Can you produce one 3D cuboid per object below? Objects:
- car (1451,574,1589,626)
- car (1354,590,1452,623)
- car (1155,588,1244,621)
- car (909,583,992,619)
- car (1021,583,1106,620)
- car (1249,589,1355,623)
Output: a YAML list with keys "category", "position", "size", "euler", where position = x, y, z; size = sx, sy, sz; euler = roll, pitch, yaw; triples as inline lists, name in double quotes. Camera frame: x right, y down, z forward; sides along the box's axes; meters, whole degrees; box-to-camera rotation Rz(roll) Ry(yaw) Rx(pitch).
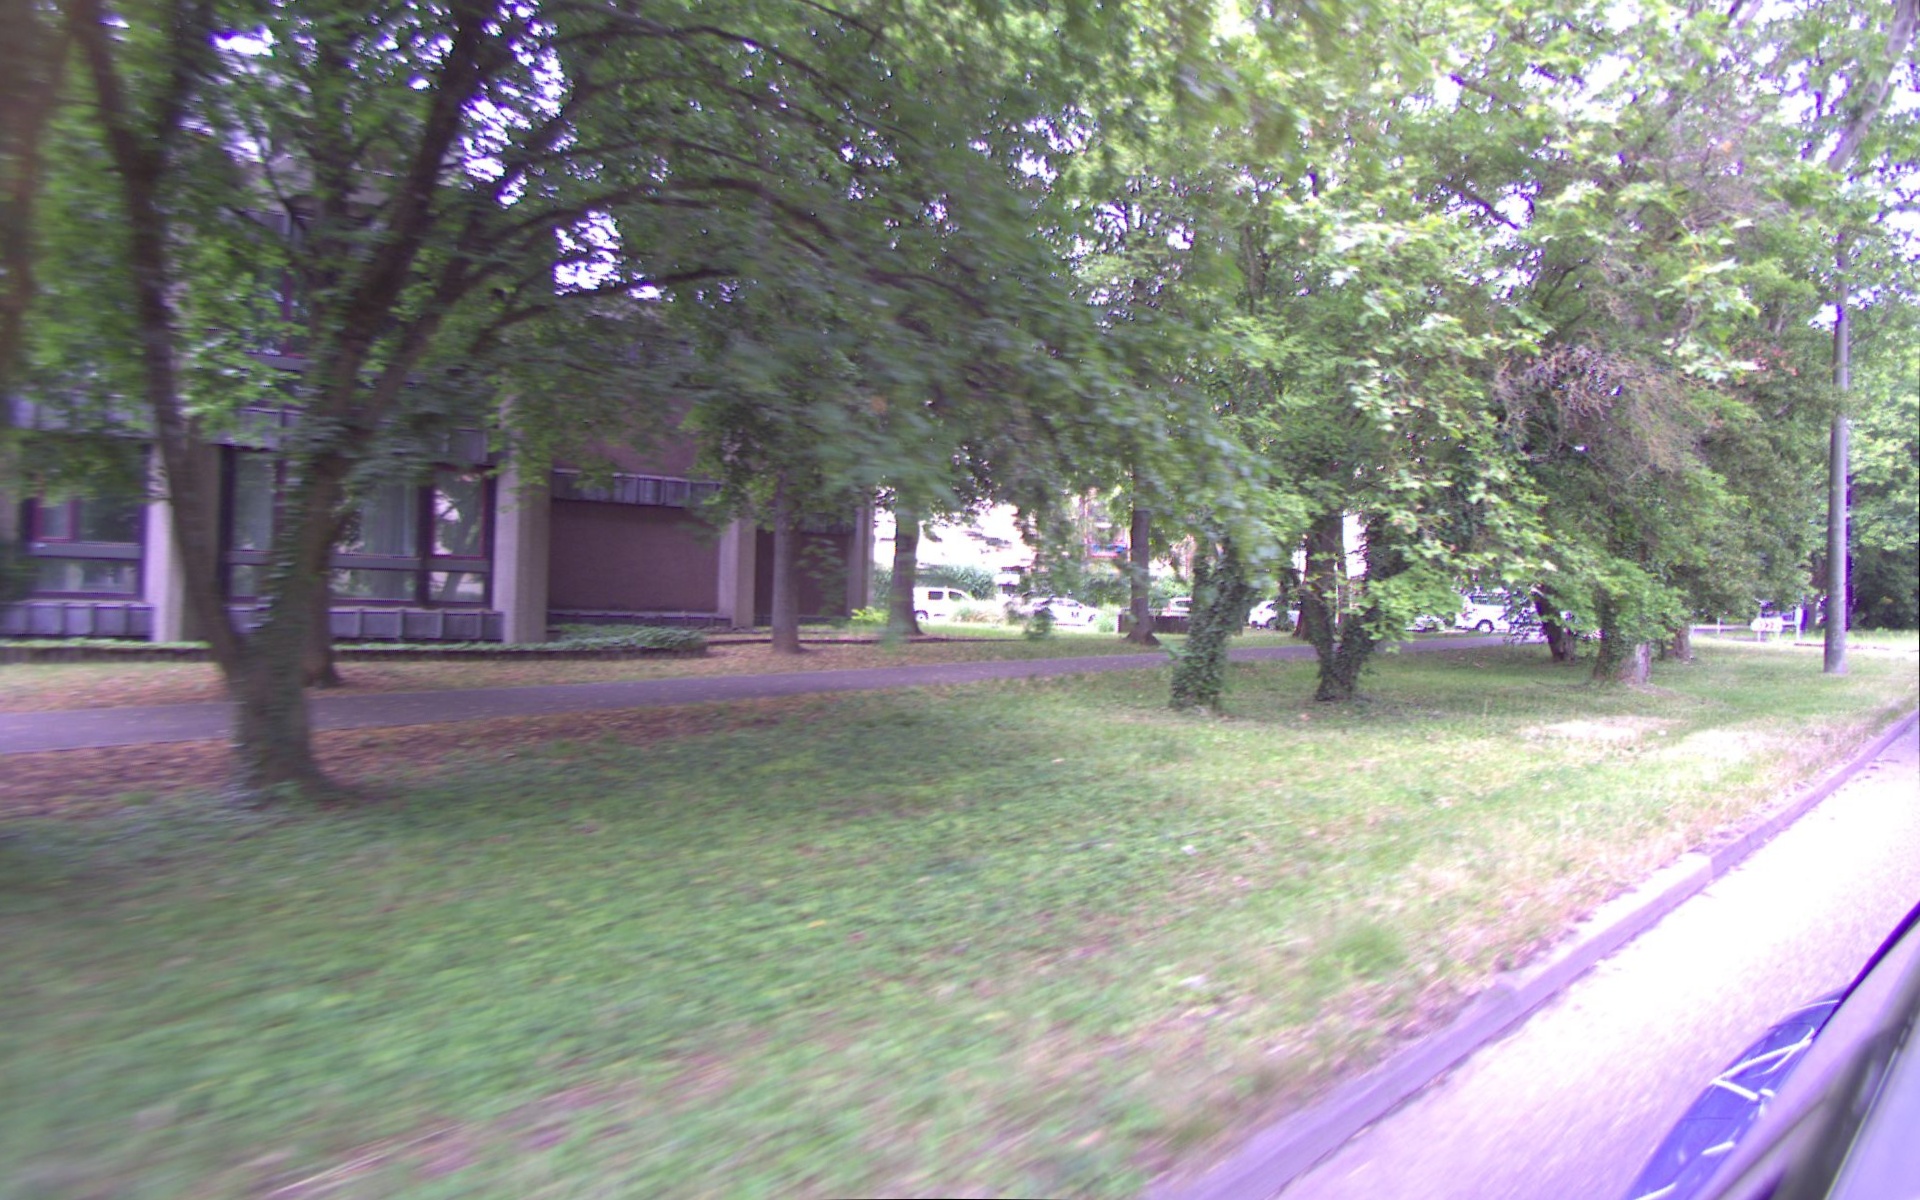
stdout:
- category: "car"
  position: [26.354, -0.020, 47.819]
  size: [5.250, 2.328, 2.281]
  euler: [1, -1, 15]
- category: "car"
  position: [21.227, 0.319, 48.646]
  size: [3.933, 1.529, 1.795]
  euler: [1, -1, 9]
- category: "car"
  position: [11.656, 0.226, 49.419]
  size: [3.924, 1.529, 1.800]
  euler: [1, -1, 0]
- category: "car"
  position: [-0.454, 0.055, 49.415]
  size: [3.925, 1.696, 1.799]
  euler: [1, -1, 1]
- category: "car"
  position: [4.999, 0.080, 49.104]
  size: [3.925, 1.696, 1.799]
  euler: [1, -1, 1]
- category: "car"
  position: [16.520, 0.279, 49.005]
  size: [4.519, 1.529, 1.798]
  euler: [1, -1, 3]
